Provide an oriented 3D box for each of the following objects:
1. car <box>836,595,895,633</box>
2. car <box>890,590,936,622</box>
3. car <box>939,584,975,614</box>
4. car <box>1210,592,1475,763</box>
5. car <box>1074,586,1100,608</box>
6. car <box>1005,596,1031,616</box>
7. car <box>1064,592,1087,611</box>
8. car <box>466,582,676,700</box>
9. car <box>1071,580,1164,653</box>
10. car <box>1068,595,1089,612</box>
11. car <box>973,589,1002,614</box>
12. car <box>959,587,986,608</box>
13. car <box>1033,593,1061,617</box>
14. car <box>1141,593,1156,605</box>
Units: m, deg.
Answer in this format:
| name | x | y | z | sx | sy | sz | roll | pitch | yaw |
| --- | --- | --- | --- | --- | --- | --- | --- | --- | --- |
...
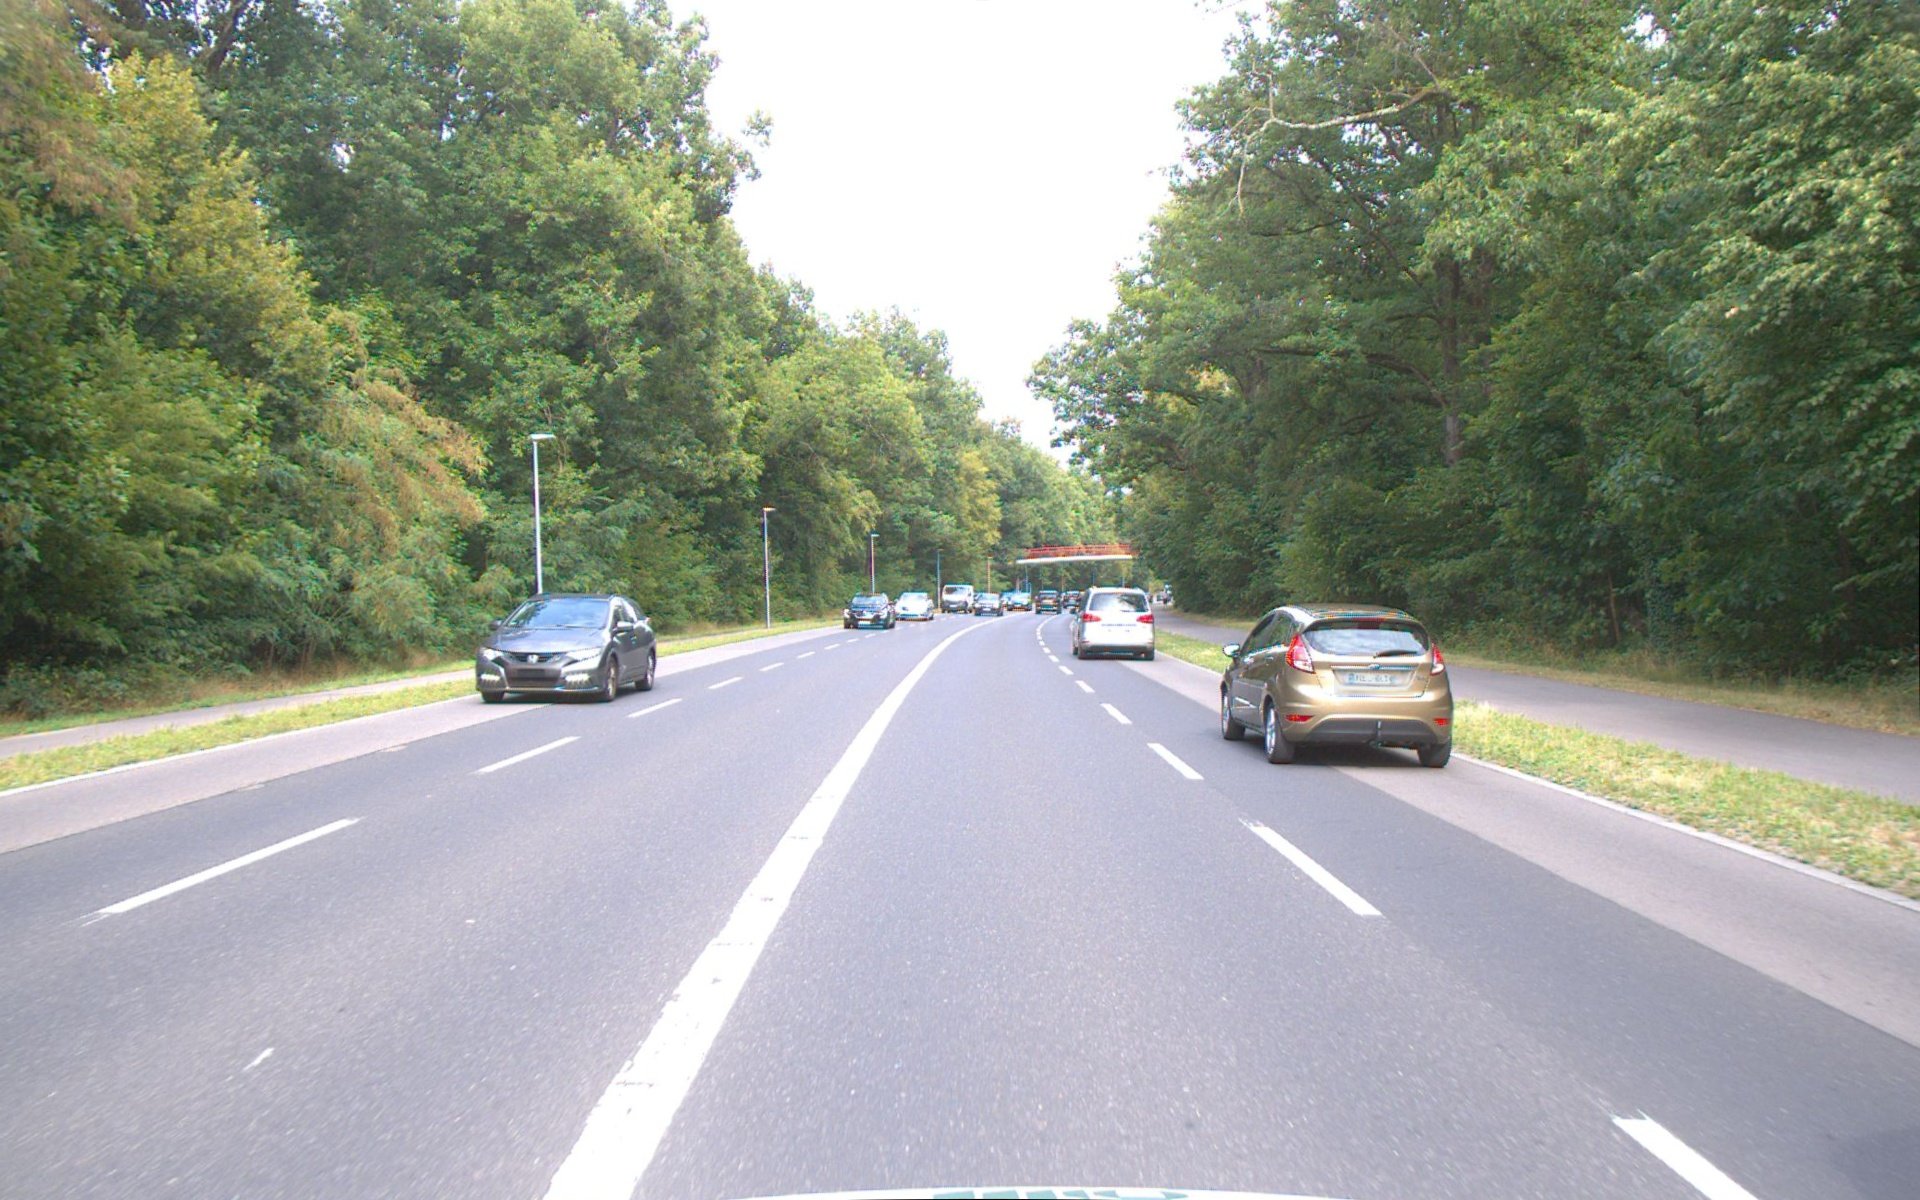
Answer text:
| name | x | y | z | sx | sy | sz | roll | pitch | yaw |
| --- | --- | --- | --- | --- | --- | --- | --- | --- | --- |
| car | -3.887 | 0.592 | 68.534 | 1.842 | 1.468 | 4.405 | 2 | -1 | 4 |
| car | -2.489 | 0.329 | 88.665 | 1.952 | 1.590 | 4.606 | 2 | -1 | 4 |
| car | -0.202 | -0.026 | 118.124 | 1.951 | 2.049 | 5.057 | -1 | -1 | 7 |
| car | 3.645 | 0.704 | 16.443 | 1.602 | 1.445 | 3.999 | 2 | -1 | -1 |
| car | 11.250 | -0.242 | 146.280 | 1.951 | 1.780 | 4.003 | 2 | -1 | 9 |
| car | 4.855 | 0.521 | 137.398 | 1.845 | 1.504 | 4.521 | 2 | -1 | 6 |
| car | 11.021 | 0.140 | 158.172 | 1.951 | 1.727 | 4.003 | 2 | -1 | 7 |
| car | -5.400 | 0.560 | 23.586 | 1.857 | 1.510 | 4.538 | 0 | -1 | 1 |
| car | 3.784 | 0.405 | 40.340 | 1.952 | 1.635 | 4.000 | 2 | -1 | 1 |
| car | 12.387 | 0.374 | 173.404 | 1.951 | 1.727 | 4.003 | 2 | -1 | 7 |
| car | 1.790 | 0.115 | 106.606 | 1.621 | 1.512 | 3.868 | 2 | -1 | 4 |
| car | 1.047 | -0.196 | 134.509 | 1.845 | 1.585 | 4.521 | 0 | -1 | 5 |
| car | 6.276 | 0.346 | 118.714 | 1.693 | 1.615 | 4.003 | 2 | -1 | 7 |
| car | 26.424 | -0.158 | 231.347 | 1.951 | 1.735 | 4.003 | 0 | 0 | 9 |
